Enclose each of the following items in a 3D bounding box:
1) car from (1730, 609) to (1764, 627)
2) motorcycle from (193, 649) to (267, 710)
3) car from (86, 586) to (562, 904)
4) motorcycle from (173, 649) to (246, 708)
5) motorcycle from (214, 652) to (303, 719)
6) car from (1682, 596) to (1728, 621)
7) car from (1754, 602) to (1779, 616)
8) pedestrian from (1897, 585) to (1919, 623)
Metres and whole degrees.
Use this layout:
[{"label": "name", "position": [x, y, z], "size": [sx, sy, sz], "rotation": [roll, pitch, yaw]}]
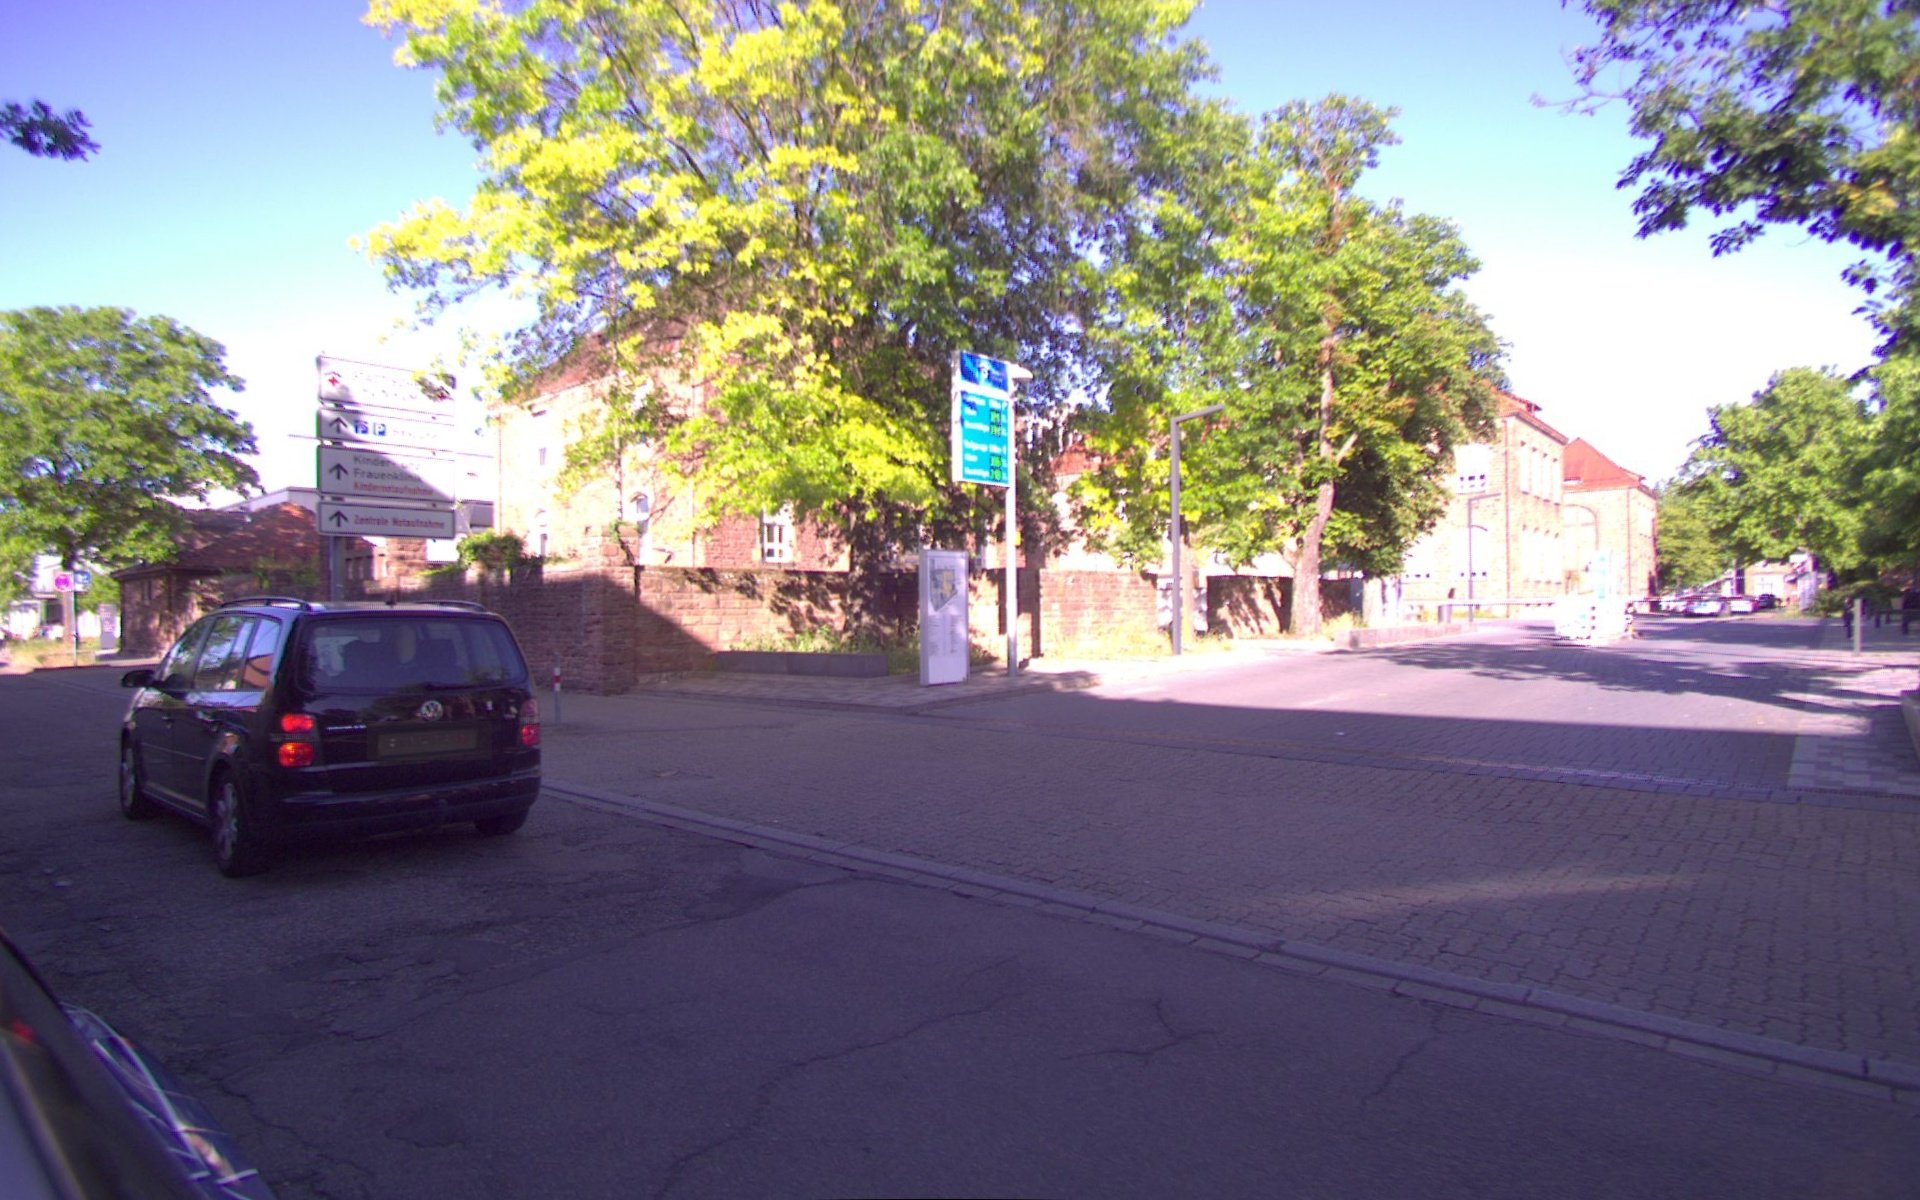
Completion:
[{"label": "car", "position": [61.373, 1.384, 78.925], "size": [1.738, 1.334, 3.026], "rotation": [-2, -1, 45]}, {"label": "motorcycle", "position": [-14.283, 1.524, 19.858], "size": [0.523, 1.047, 2.097], "rotation": [-2, 0, -18]}, {"label": "car", "position": [-4.614, 0.816, 7.108], "size": [4.017, 1.623, 1.627], "rotation": [-2, -3, 40]}, {"label": "motorcycle", "position": [-15.426, 1.588, 20.857], "size": [0.523, 1.047, 2.097], "rotation": [-2, 0, -18]}, {"label": "motorcycle", "position": [-12.226, 1.458, 17.707], "size": [0.591, 1.040, 2.133], "rotation": [-1, -1, -15]}, {"label": "car", "position": [42.982, 0.492, 58.364], "size": [1.738, 1.334, 3.026], "rotation": [-2, 0, 45]}, {"label": "car", "position": [83.869, 0.971, 105.251], "size": [1.738, 1.334, 3.026], "rotation": [-2, 0, 45]}, {"label": "pedestrian", "position": [30.505, 0.115, 32.415], "size": [0.609, 1.185, 0.564], "rotation": [-2, 0, 37]}]
